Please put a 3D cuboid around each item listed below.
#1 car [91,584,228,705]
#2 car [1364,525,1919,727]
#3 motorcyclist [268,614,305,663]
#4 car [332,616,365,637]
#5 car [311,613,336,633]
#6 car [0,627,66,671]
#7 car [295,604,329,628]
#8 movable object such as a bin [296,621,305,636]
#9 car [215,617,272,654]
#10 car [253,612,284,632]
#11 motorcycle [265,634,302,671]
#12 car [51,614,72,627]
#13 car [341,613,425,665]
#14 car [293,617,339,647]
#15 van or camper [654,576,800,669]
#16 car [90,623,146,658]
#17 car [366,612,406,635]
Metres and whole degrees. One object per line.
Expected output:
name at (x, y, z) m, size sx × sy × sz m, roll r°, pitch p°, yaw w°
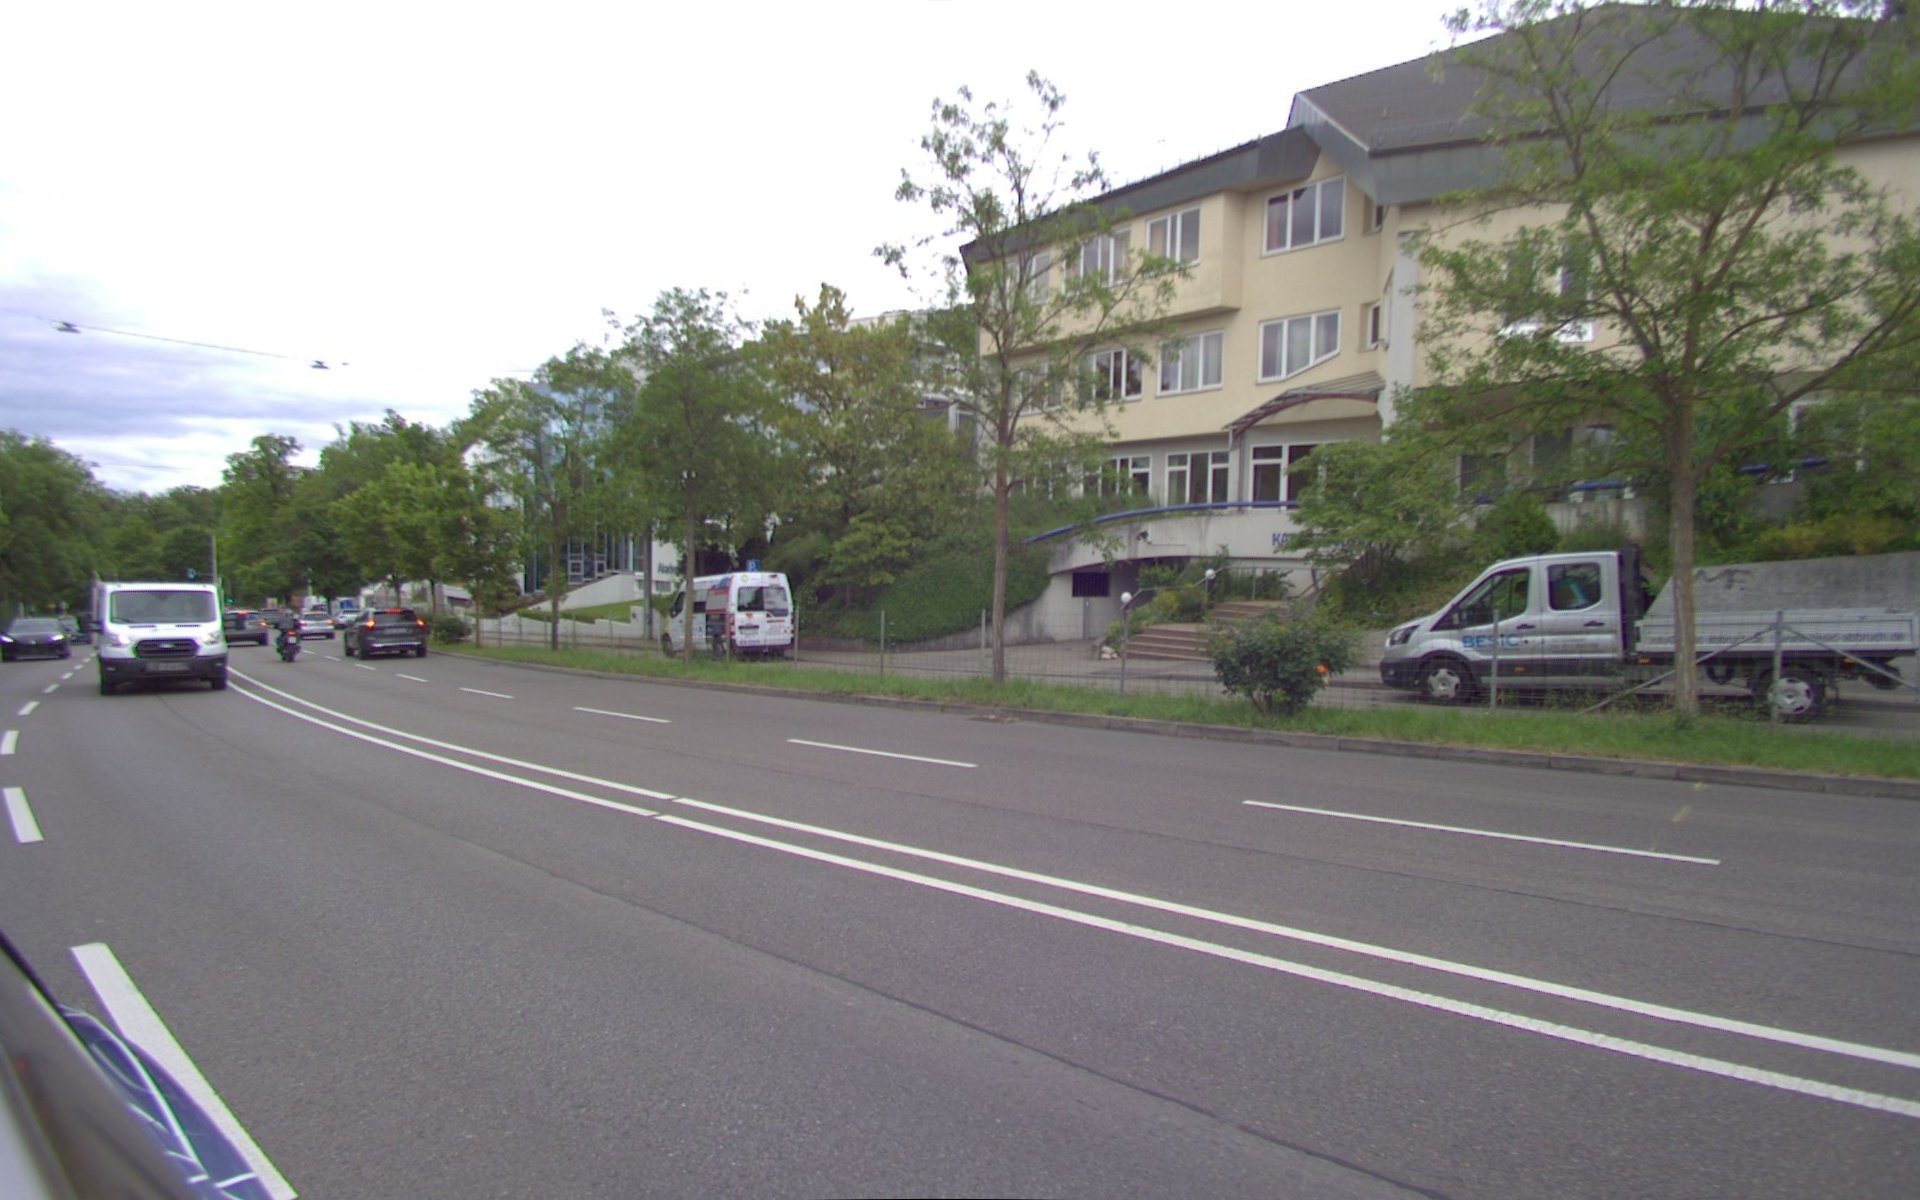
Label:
car at (-17.029, 0.873, 21.371) m, size 1.969 × 2.190 × 6.277 m, roll -1°, pitch -1°, yaw -41°
car at (9.276, 0.330, 14.213) m, size 6.319 × 2.290 × 2.246 m, roll -1°, pitch -1°, yaw 38°
motorcyclist at (-20.831, 1.186, 31.293) m, size 0.751 × 1.496 × 0.961 m, roll 3°, pitch -3°, yaw -44°
car at (-45.928, 1.982, 76.001) m, size 1.646 × 1.515 × 4.247 m, roll 0°, pitch -1°, yaw -37°
car at (-61.611, 2.199, 97.909) m, size 1.782 × 1.764 × 4.261 m, roll -3°, pitch 1°, yaw -35°
car at (-33.670, 1.745, 36.814) m, size 1.708 × 1.421 × 4.005 m, roll -2°, pitch 0°, yaw -42°
car at (-70.642, 1.735, 110.279) m, size 1.969 × 2.545 × 6.542 m, roll -3°, pitch 1°, yaw -42°
movable object such as a bin at (-52.488, 2.267, 80.594) m, size 0.580 × 1.146 × 0.647 m, roll -2°, pitch 0°, yaw -33°
car at (-32.248, 1.559, 45.531) m, size 1.763 × 1.550 × 4.082 m, roll -1°, pitch -1°, yaw -40°
car at (-61.939, 1.963, 90.644) m, size 1.742 × 1.721 × 4.877 m, roll -2°, pitch 0°, yaw -41°
motorcycle at (-21.033, 1.609, 31.445) m, size 2.269 × 1.064 × 0.478 m, roll -1°, pitch -1°, yaw 44°
car at (-125.855, 2.858, 141.734) m, size 4.002 × 1.906 × 1.971 m, roll -1°, pitch -1°, yaw 45°
car at (-19.067, 1.251, 33.372) m, size 1.762 × 1.587 × 4.476 m, roll 1°, pitch -1°, yaw -38°
car at (-34.219, 1.676, 53.716) m, size 1.546 × 1.442 × 3.897 m, roll -2°, pitch 0°, yaw -40°
van or camper at (-7.004, 0.623, 29.881) m, size 1.968 × 2.491 × 5.722 m, roll 0°, pitch -1°, yaw -38°
car at (-40.454, 1.926, 48.610) m, size 1.969 × 1.560 × 4.006 m, roll -1°, pitch -1°, yaw -41°
car at (-37.877, 1.550, 66.703) m, size 1.652 × 1.439 × 4.097 m, roll 0°, pitch -1°, yaw -39°
